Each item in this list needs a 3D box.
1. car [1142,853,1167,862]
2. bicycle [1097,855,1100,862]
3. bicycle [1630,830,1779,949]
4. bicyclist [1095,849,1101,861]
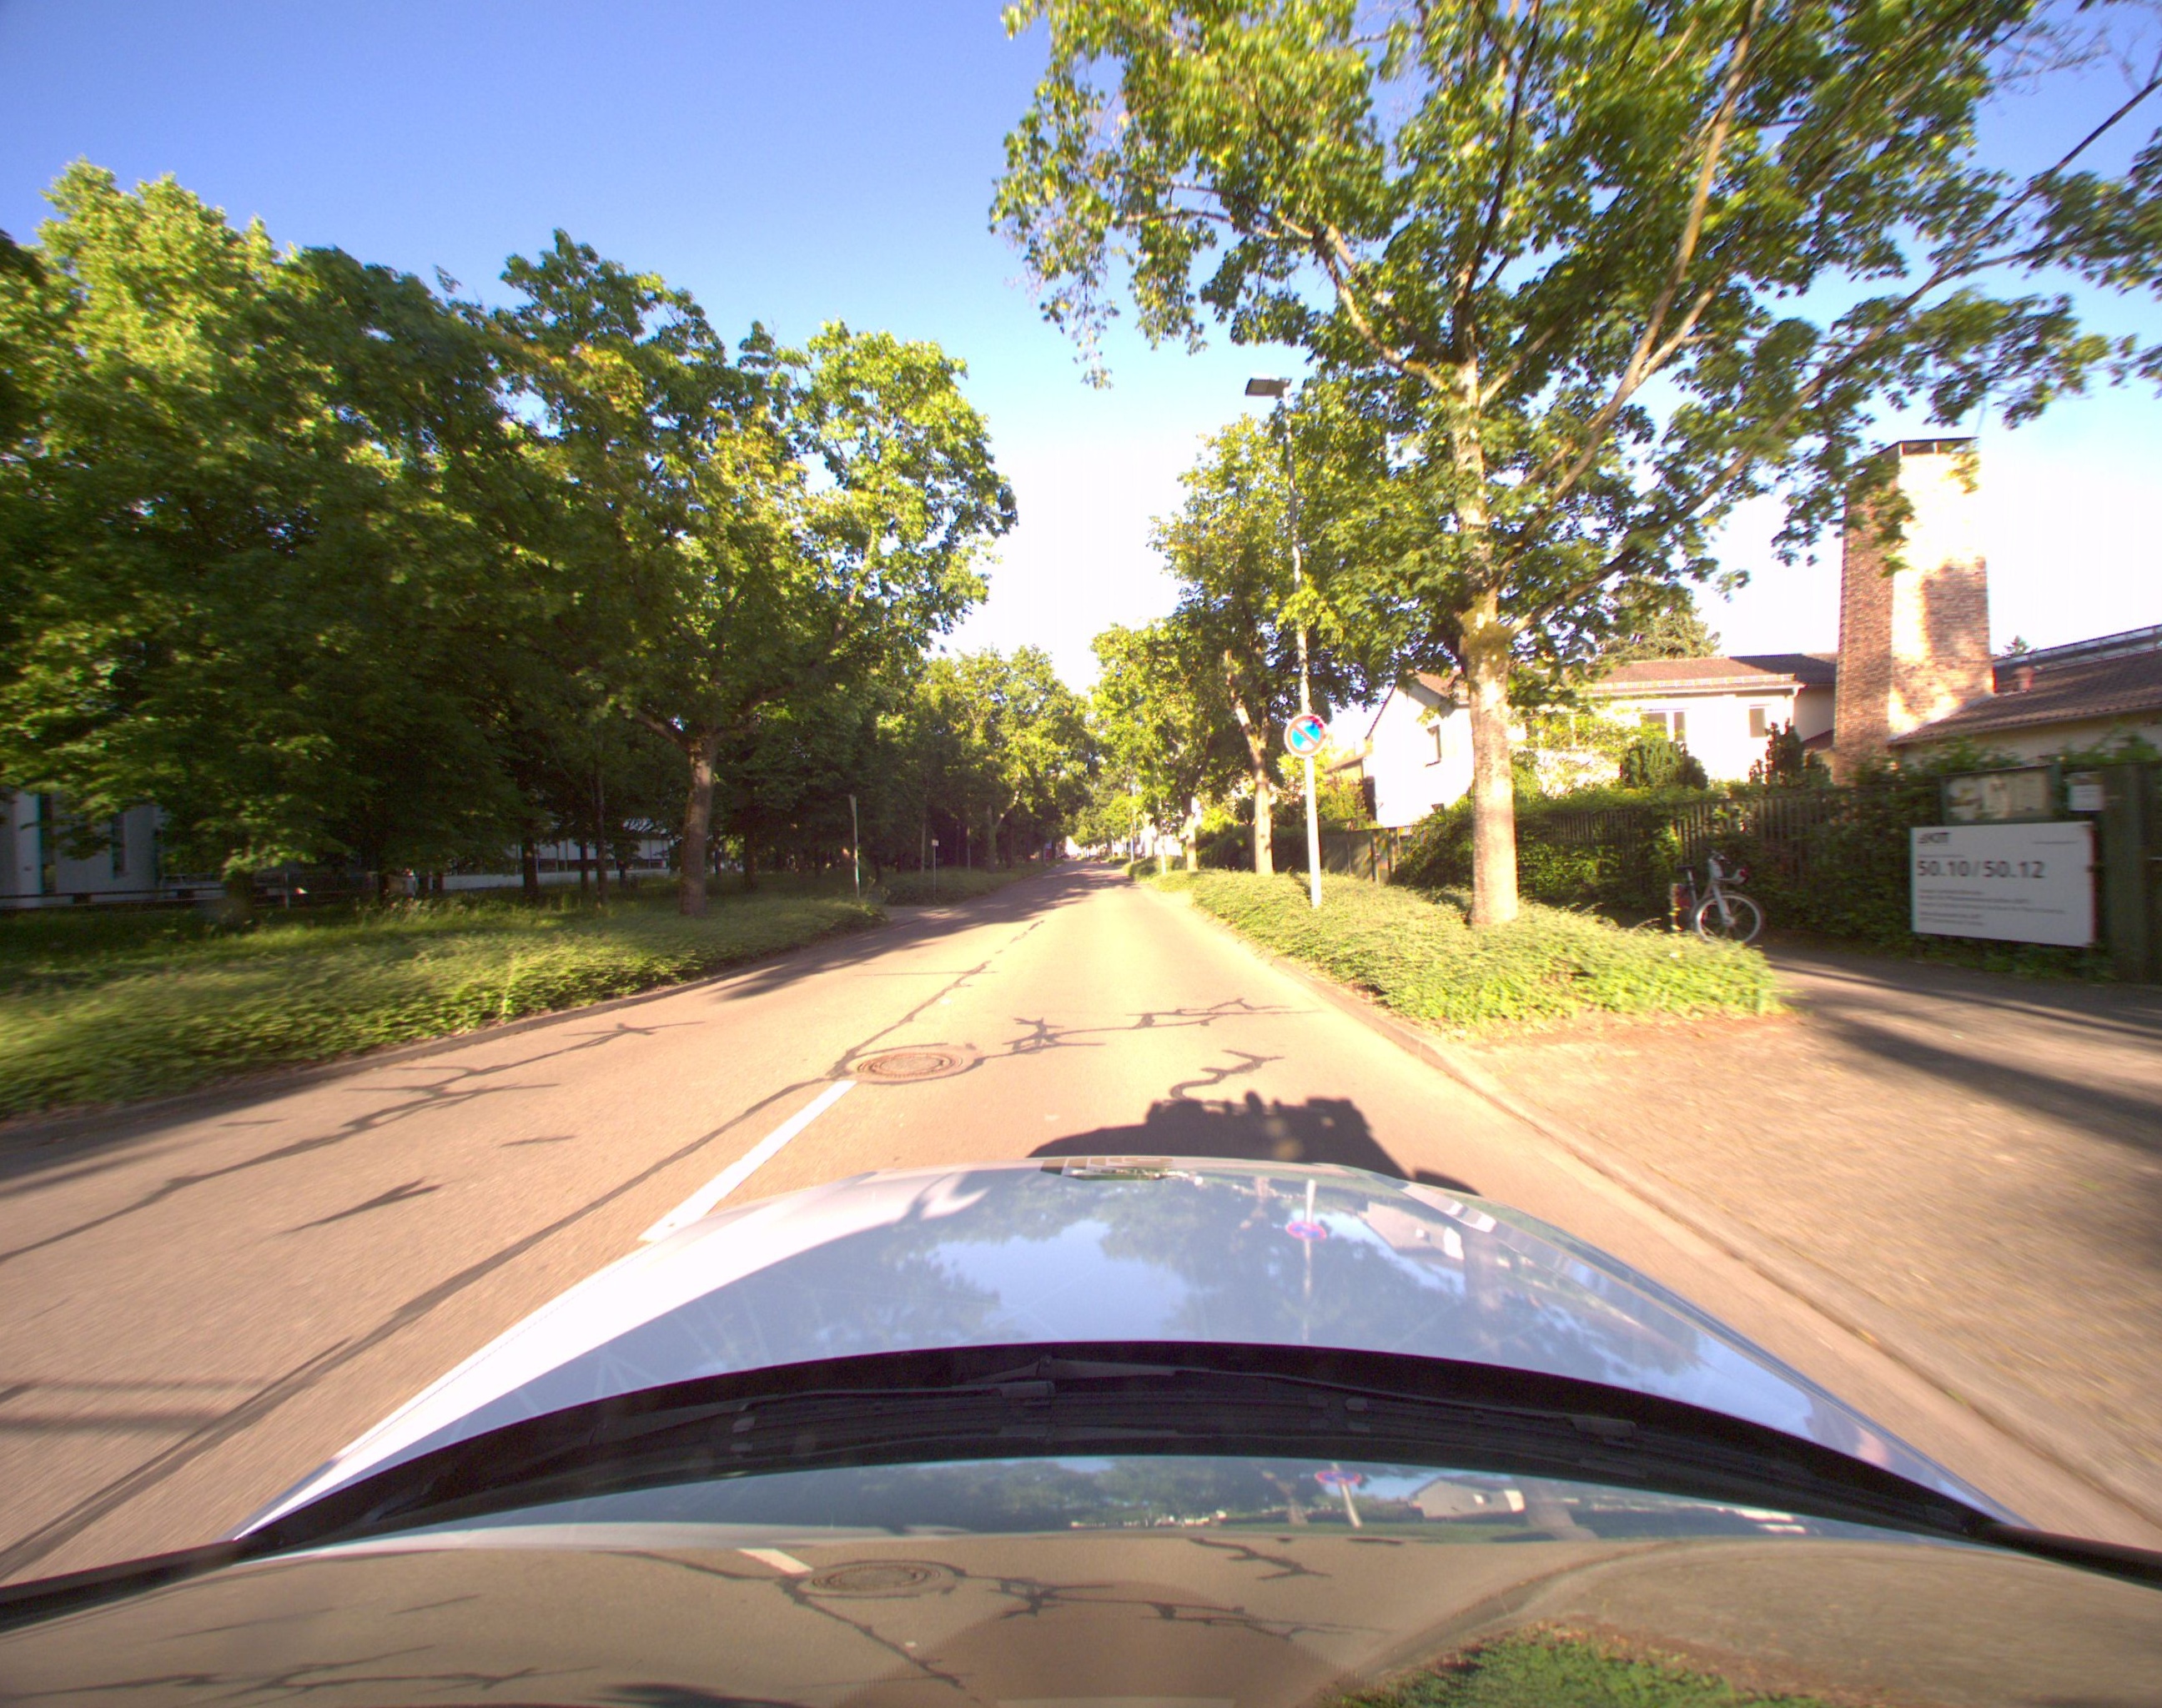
[{"bbox_3d":[12.567,0.532,139.162,4.327,1.353,2.148,1,4,6],"label":"car"},{"bbox_3d":[2.451,0.604,114.026,0.437,0.978,1.662,-3,1,1],"label":"bicycle"},{"bbox_3d":[7.419,0.364,9.834,0.875,1.200,2.340,-5,0,25],"label":"bicycle"},{"bbox_3d":[2.370,0.096,113.975,0.864,1.641,1.115,-2,1,0],"label":"bicyclist"}]
